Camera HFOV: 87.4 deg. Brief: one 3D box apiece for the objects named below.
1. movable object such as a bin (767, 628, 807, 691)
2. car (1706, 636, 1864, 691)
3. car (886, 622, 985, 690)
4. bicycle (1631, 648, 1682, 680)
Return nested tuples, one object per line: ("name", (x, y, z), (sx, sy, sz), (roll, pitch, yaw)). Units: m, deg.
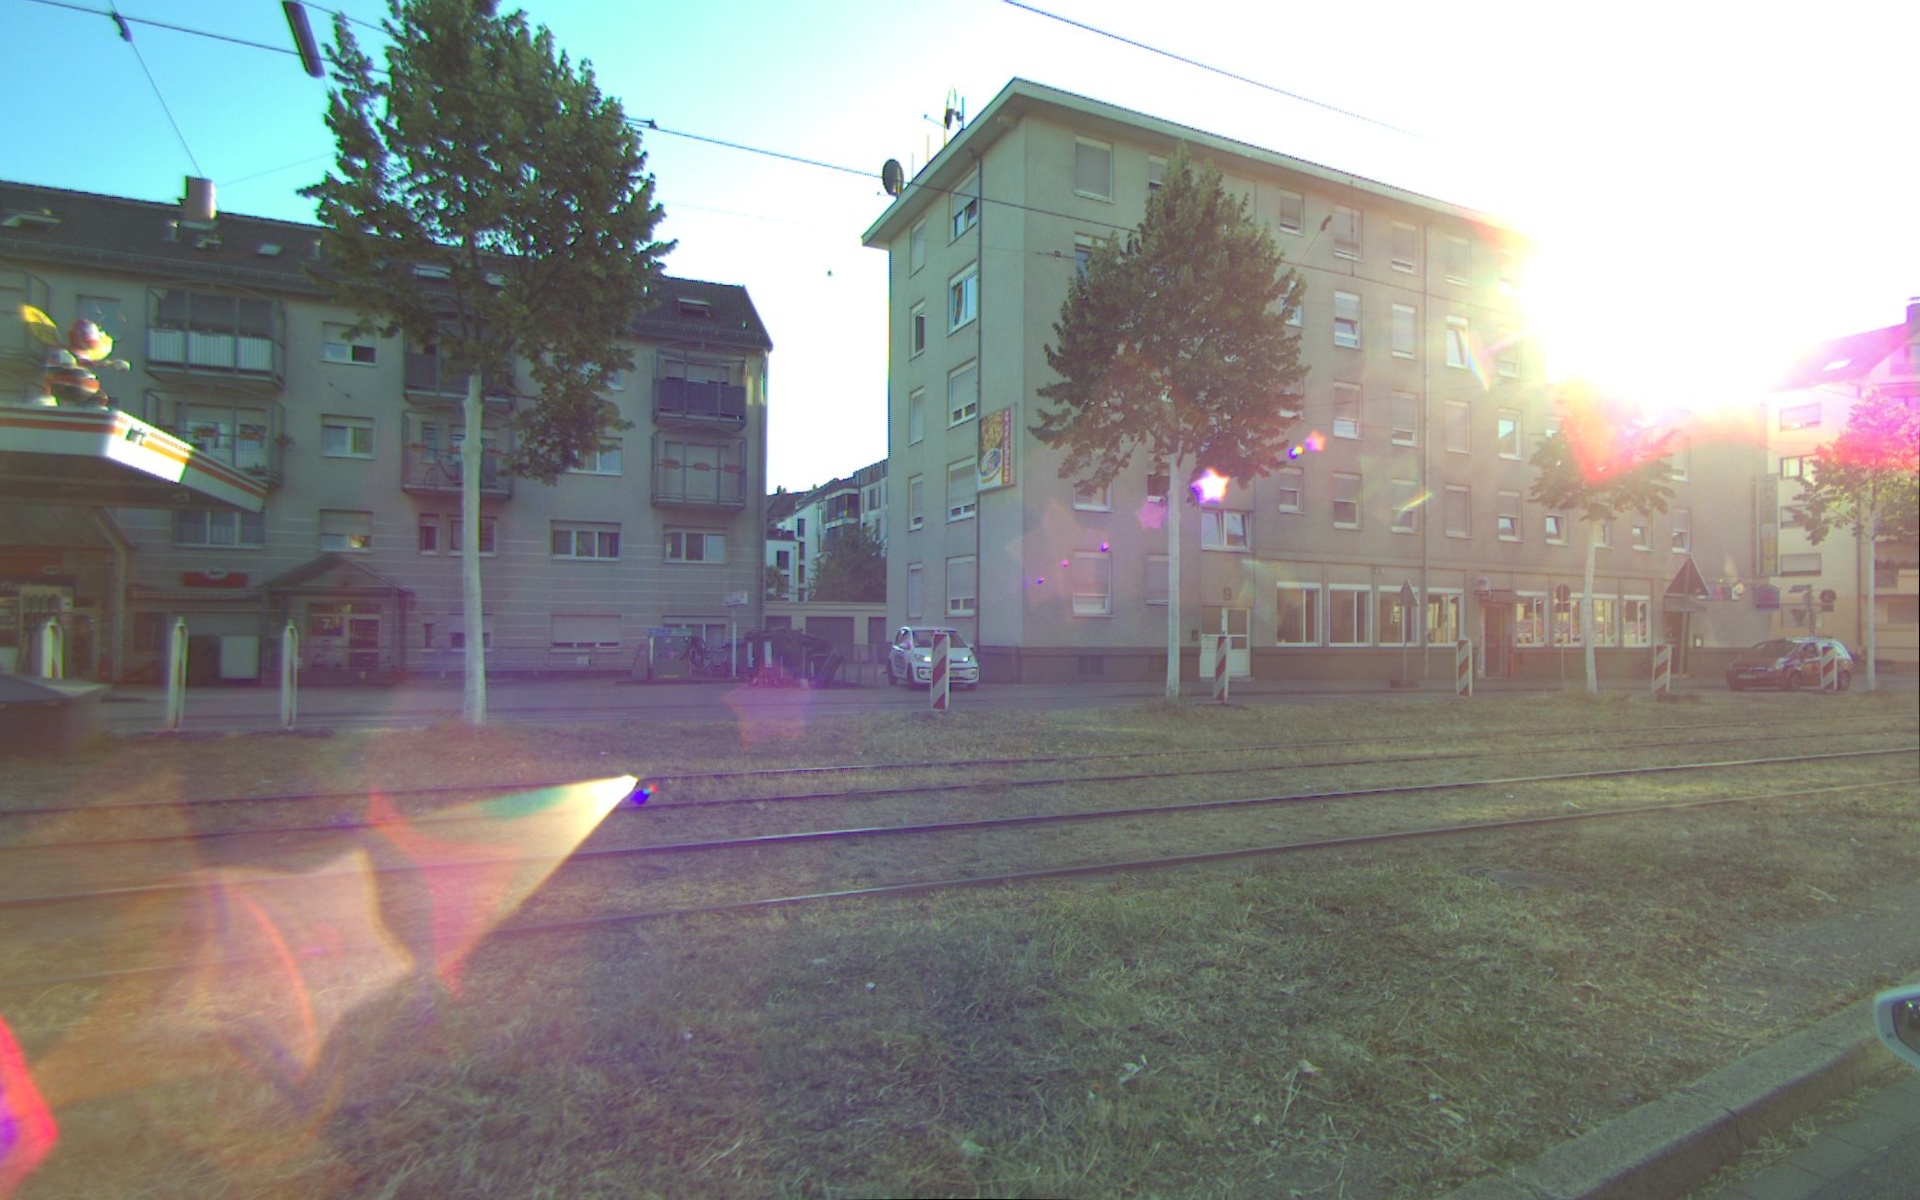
("movable object such as a bin", (-4.014, 1.366, 23.302), (0.739, 1.419, 0.661), (1, -2, -27))
("car", (25.767, 1.929, 31.344), (4.865, 1.580, 1.808), (0, -2, -24))
("car", (-0.676, 1.361, 24.605), (1.786, 1.532, 3.822), (1, -3, -11))
("bicycle", (25.350, 2.317, 36.551), (1.754, 1.129, 0.744), (1, -2, -25))
